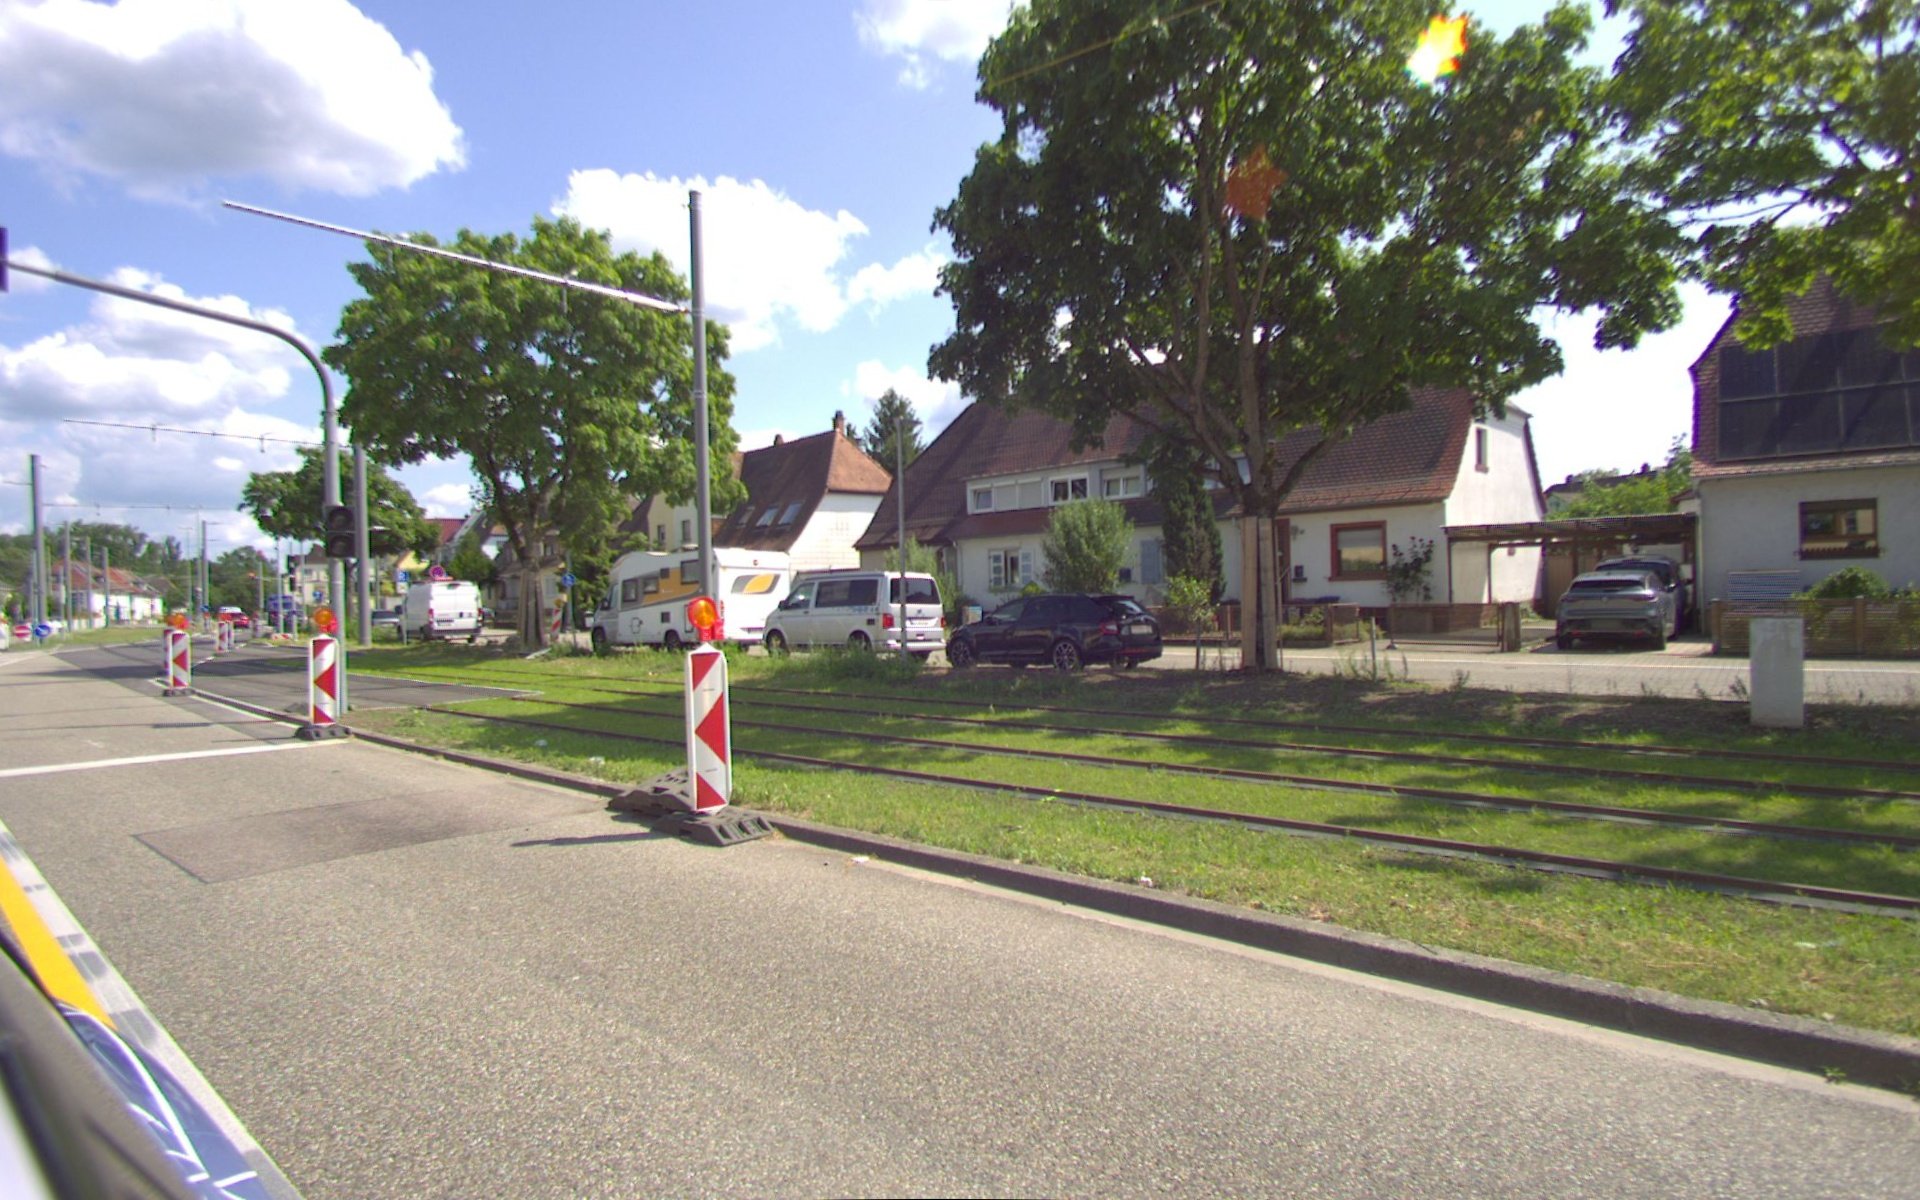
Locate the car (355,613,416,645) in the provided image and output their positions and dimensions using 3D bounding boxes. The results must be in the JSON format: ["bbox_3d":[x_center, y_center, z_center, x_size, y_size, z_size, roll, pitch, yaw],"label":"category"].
[{"bbox_3d":[-28.677,1.453,50.439,1.672,1.476,4.761,-1,0,-42],"label":"car"}]

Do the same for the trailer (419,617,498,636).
[{"bbox_3d":[-37.070,1.947,74.853,4.861,1.133,1.963,-2,0,-42],"label":"trailer"}]

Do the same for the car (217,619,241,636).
[{"bbox_3d":[-72.040,2.742,99.673,1.703,1.574,4.551,-2,0,-38],"label":"car"}]

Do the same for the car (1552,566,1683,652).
[{"bbox_3d":[13.329,0.136,20.411,1.871,1.541,3.950,-2,1,38],"label":"car"}]

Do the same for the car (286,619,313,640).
[{"bbox_3d":[-53.204,2.361,81.561,1.702,1.538,4.784,-2,0,-32],"label":"car"}]

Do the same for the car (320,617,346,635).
[{"bbox_3d":[-59.373,2.447,95.801,1.703,1.574,4.551,-2,0,-37],"label":"car"}]

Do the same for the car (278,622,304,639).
[{"bbox_3d":[-57.621,2.633,87.114,1.702,1.345,4.553,-2,0,-35],"label":"car"}]

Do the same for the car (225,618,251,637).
[{"bbox_3d":[-63.117,2.389,88.424,1.703,1.574,4.551,-2,0,-37],"label":"car"}]

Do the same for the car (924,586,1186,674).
[{"bbox_3d":[1.604,0.523,18.703,1.830,1.397,4.813,-2,0,-43],"label":"car"}]

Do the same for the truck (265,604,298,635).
[{"bbox_3d":[-74.084,2.160,110.407,2.798,3.178,7.953,-2,0,-35],"label":"truck"}]

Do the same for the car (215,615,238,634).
[{"bbox_3d":[-81.563,2.727,112.571,1.893,1.979,4.551,-2,0,-38],"label":"car"}]

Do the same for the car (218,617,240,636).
[{"bbox_3d":[-75.940,2.753,105.103,1.703,1.868,4.551,-2,0,-38],"label":"car"}]

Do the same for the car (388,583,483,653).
[{"bbox_3d":[-21.693,0.740,41.774,2.128,2.688,4.920,-2,0,-44],"label":"car"}]

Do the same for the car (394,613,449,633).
[{"bbox_3d":[-46.051,1.933,86.585,3.830,1.567,1.684,-2,0,-41],"label":"car"}]

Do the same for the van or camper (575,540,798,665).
[{"bbox_3d":[-7.636,0.114,27.567,7.296,2.992,2.350,-2,0,43],"label":"van or camper"}]

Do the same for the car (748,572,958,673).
[{"bbox_3d":[-2.516,0.486,22.897,4.904,2.029,1.972,-2,0,44],"label":"car"}]

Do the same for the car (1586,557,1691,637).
[{"bbox_3d":[16.261,-0.103,24.163,1.796,1.750,3.950,-2,1,38],"label":"car"}]
